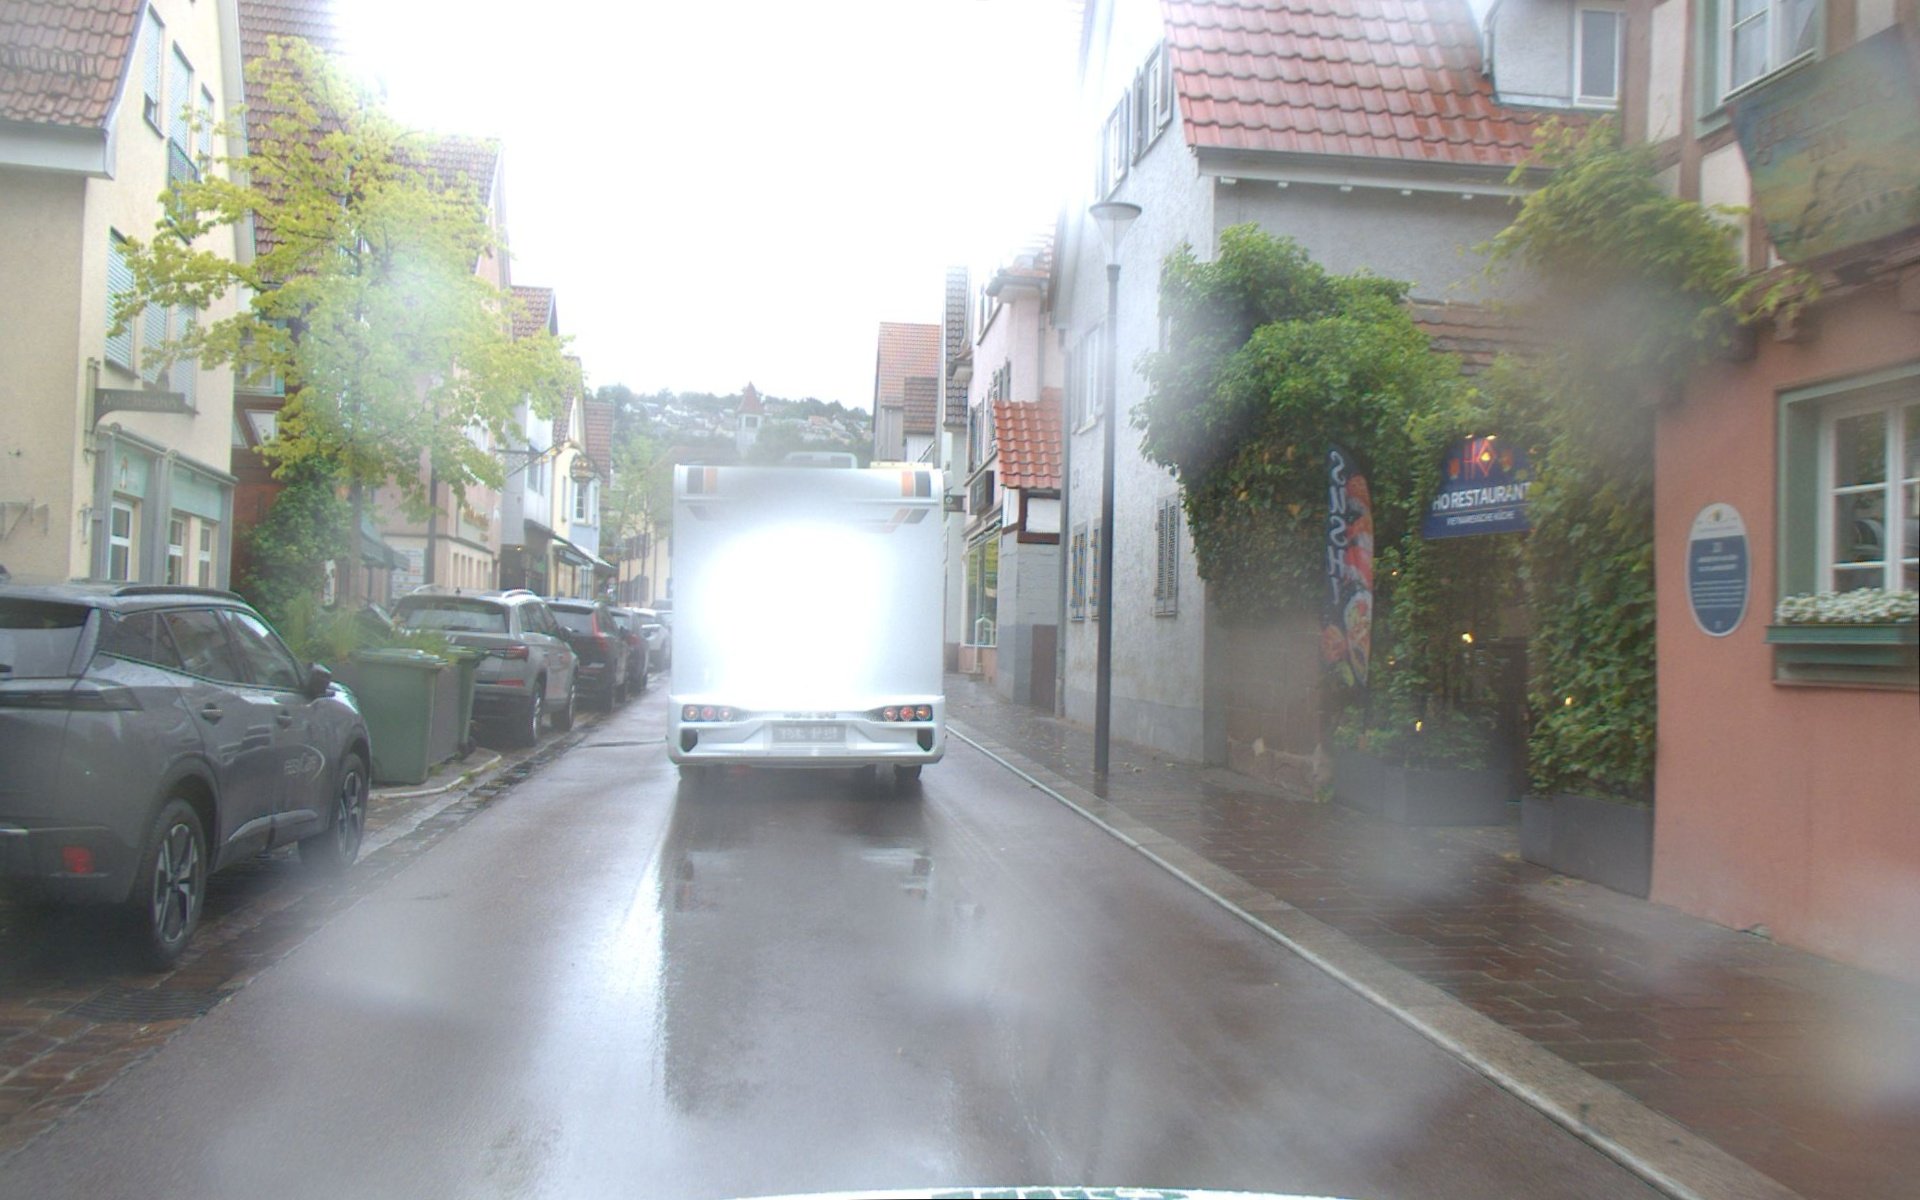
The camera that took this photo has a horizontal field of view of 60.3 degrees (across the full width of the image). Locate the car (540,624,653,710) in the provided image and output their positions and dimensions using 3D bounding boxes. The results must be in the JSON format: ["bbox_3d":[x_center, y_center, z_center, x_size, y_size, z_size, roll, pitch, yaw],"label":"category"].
[{"bbox_3d":[-7.065,1.301,32.497,1.799,1.579,4.273,1,-2,-8],"label":"car"}]

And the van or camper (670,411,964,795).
[{"bbox_3d":[-1.621,0.130,16.121,2.283,2.970,6.377,1,-2,-10],"label":"van or camper"}]

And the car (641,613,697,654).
[{"bbox_3d":[-11.387,1.288,64.546,1.959,1.498,3.987,2,-1,-12],"label":"car"}]

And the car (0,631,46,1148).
[{"bbox_3d":[-3.179,0.744,2.498,1.769,1.458,4.614,1,-2,-11],"label":"car"}]

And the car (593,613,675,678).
[{"bbox_3d":[-8.443,1.197,43.084,1.792,1.594,3.993,1,-2,-7],"label":"car"}]

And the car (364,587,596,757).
[{"bbox_3d":[-5.468,0.824,19.408,1.737,1.704,4.473,2,-2,-5],"label":"car"}]

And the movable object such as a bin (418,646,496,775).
[{"bbox_3d":[-4.821,1.051,15.874,0.590,1.222,0.523,0,-2,-4],"label":"movable object such as a bin"}]

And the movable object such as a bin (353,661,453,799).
[{"bbox_3d":[-4.585,1.059,13.644,0.609,1.098,0.724,1,-2,-5],"label":"movable object such as a bin"}]

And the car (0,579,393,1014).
[{"bbox_3d":[-4.034,0.769,7.936,1.562,1.573,3.972,1,-2,-5],"label":"car"}]

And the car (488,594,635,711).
[{"bbox_3d":[-6.259,0.846,26.439,1.799,1.704,4.532,1,-2,-8],"label":"car"}]

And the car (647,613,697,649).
[{"bbox_3d":[-16.961,1.843,97.262,1.968,2.049,3.968,1,-2,-25],"label":"car"}]
